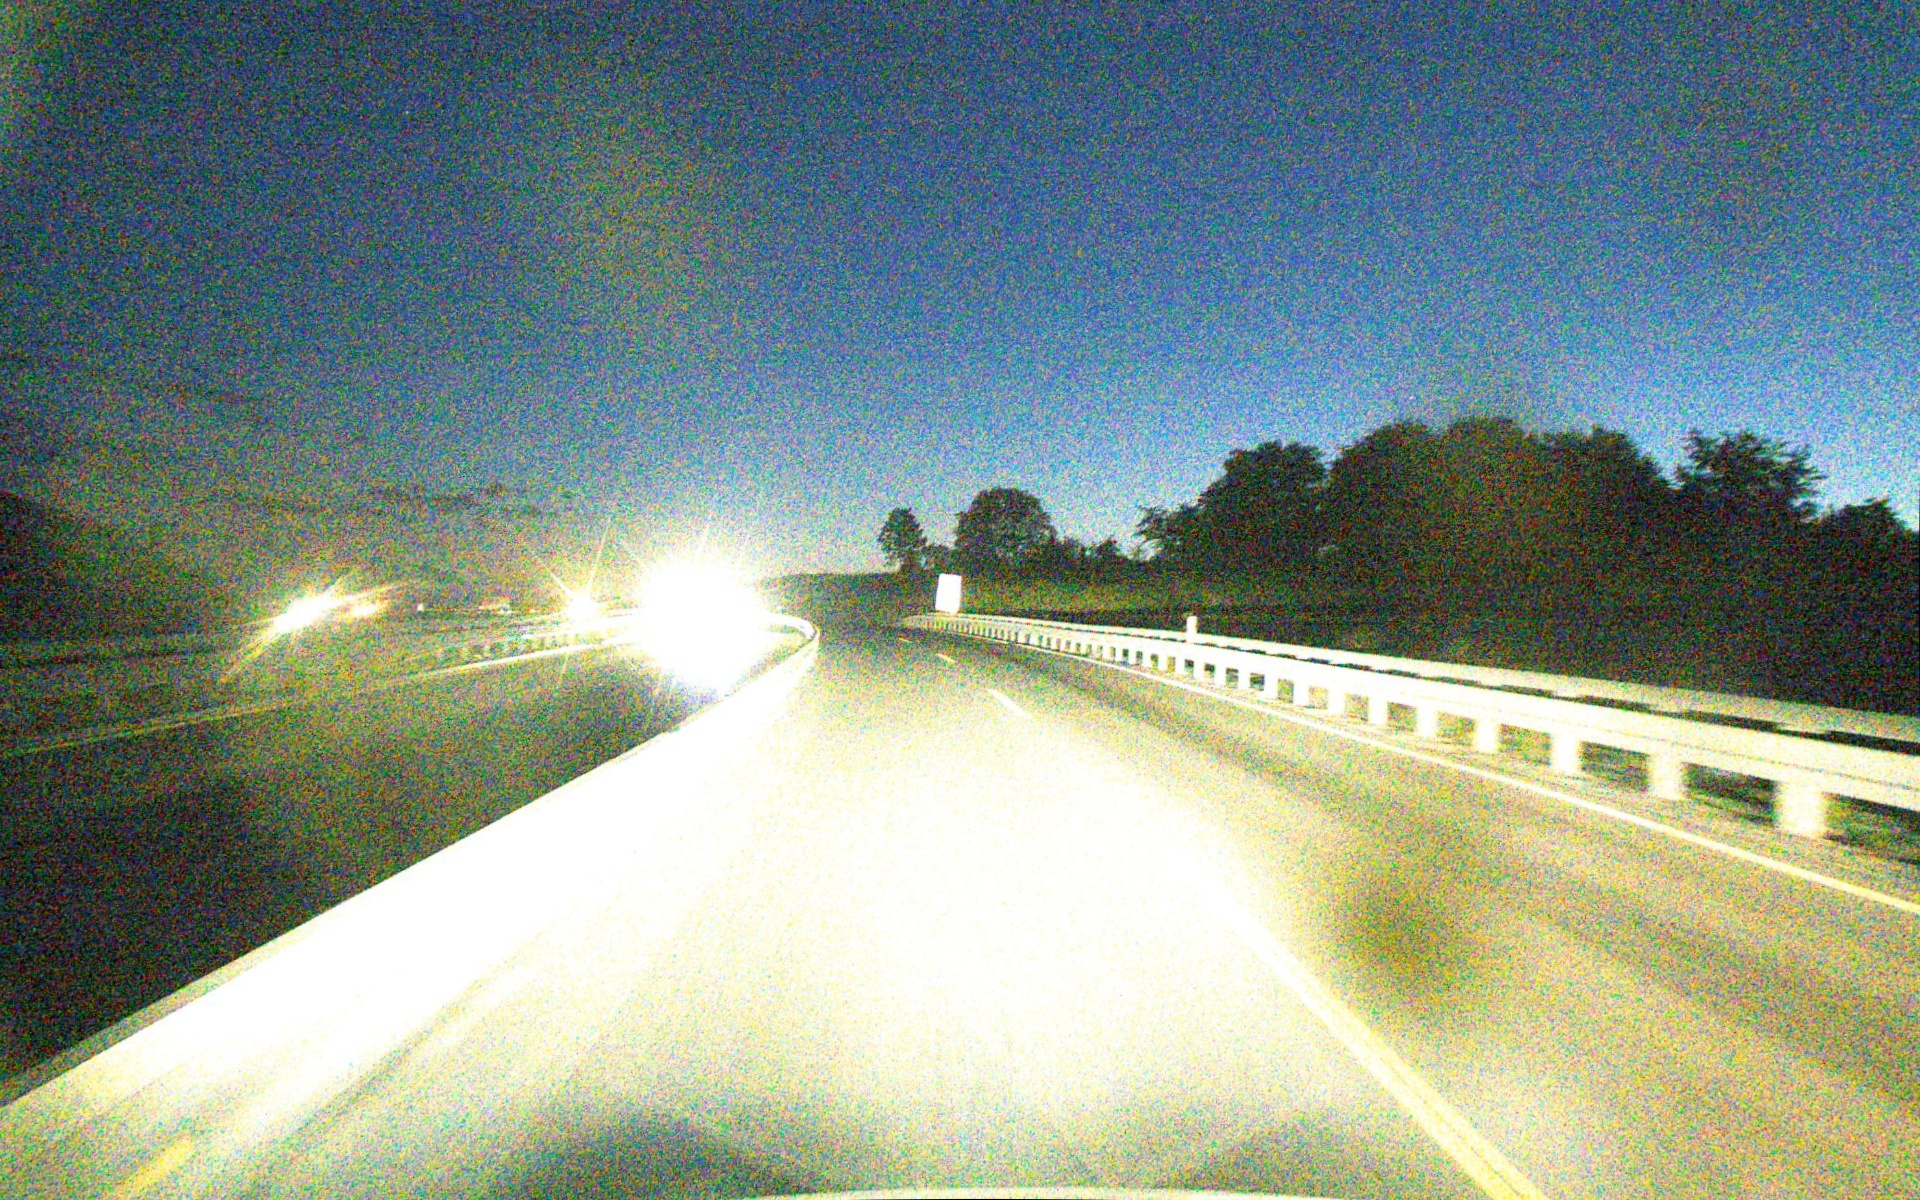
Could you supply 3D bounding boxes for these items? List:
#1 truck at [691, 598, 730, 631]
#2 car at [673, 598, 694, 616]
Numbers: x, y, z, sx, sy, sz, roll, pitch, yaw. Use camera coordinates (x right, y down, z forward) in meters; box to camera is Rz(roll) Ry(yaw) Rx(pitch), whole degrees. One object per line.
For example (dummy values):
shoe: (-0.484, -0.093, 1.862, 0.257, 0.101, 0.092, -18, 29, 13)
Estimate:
truck: (-11.570, 0.684, 76.832, 1.651, 1.495, 4.146, 1, -1, -7)
car: (-24.712, 0.642, 147.655, 1.682, 1.469, 4.473, -1, -1, -12)
